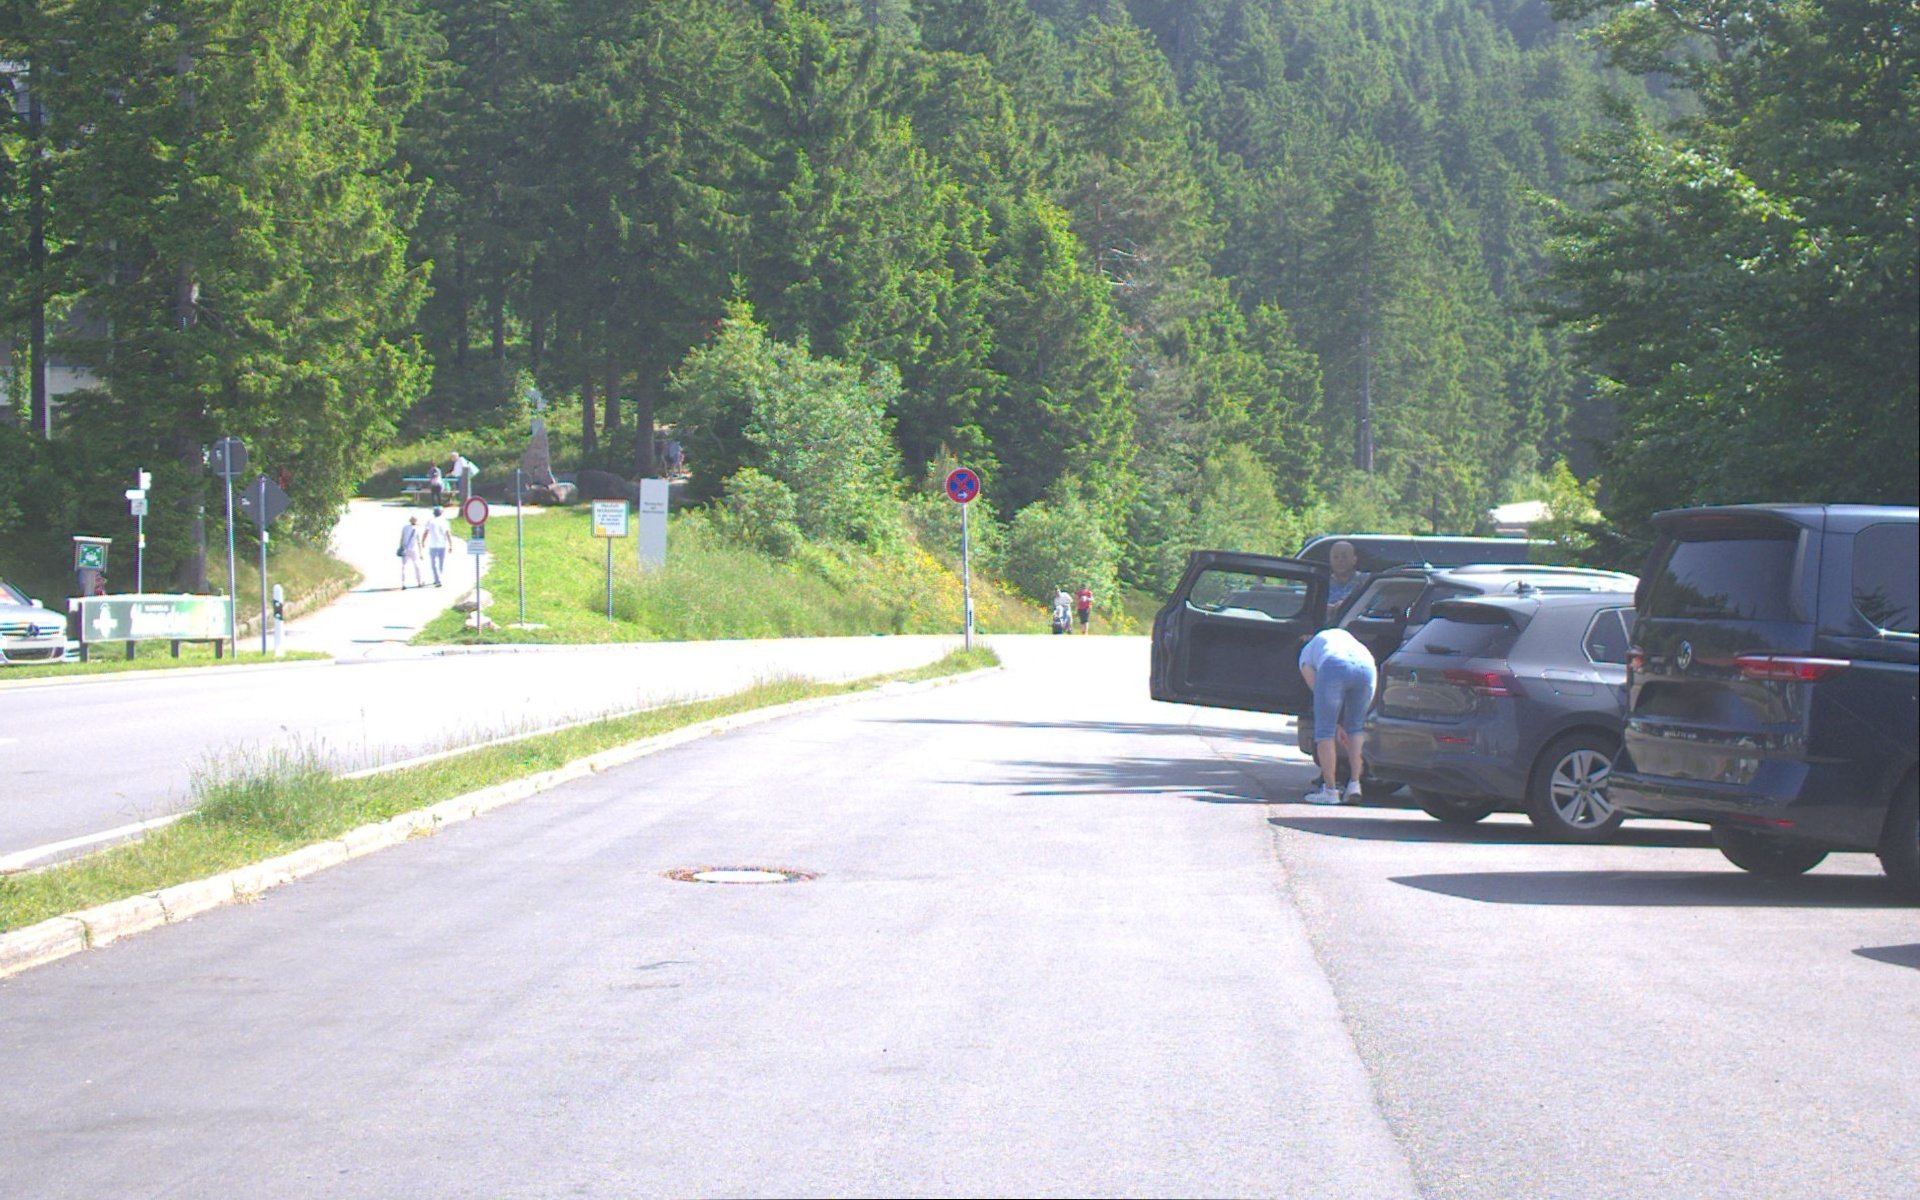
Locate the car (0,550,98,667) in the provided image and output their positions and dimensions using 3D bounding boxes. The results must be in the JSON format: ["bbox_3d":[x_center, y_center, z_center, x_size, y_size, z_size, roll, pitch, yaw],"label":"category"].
[{"bbox_3d":[-13.097,0.105,45.160,1.739,1.436,3.968,-3,2,-42],"label":"car"}]

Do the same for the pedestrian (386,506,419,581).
[{"bbox_3d":[-12.524,-1.267,77.219,0.652,1.661,0.643,-1,-1,-2],"label":"pedestrian"}]

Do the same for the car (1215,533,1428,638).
[{"bbox_3d":[7.066,-0.295,67.485,3.988,1.713,1.867,4,2,5],"label":"car"}]

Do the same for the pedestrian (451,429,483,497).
[{"bbox_3d":[-14.699,-4.075,102.516,0.815,2.006,0.854,-1,2,-4],"label":"pedestrian"}]

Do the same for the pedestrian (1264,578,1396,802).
[{"bbox_3d":[2.388,0.570,22.140,0.774,1.398,0.669,-1,2,11],"label":"pedestrian"}]

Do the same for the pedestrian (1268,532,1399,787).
[{"bbox_3d":[2.645,0.416,24.365,0.578,1.754,0.633,3,0,-25],"label":"pedestrian"}]

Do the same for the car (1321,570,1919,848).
[{"bbox_3d":[4.378,0.645,20.417,3.985,1.438,1.840,2,1,-16],"label":"car"}]

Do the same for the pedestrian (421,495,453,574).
[{"bbox_3d":[-11.842,-1.484,77.849,0.652,1.793,0.643,0,1,-2],"label":"pedestrian"}]

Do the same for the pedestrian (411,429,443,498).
[{"bbox_3d":[-15.690,-4.010,101.247,0.797,2.006,0.940,-1,2,-4],"label":"pedestrian"}]

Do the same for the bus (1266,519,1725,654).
[{"bbox_3d":[15.537,-0.474,100.188,12.874,3.566,2.979,1,3,21],"label":"bus"}]

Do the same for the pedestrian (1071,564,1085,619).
[{"bbox_3d":[3.818,-0.276,111.498,0.415,1.741,0.457,-1,2,4],"label":"pedestrian"}]

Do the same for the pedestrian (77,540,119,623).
[{"bbox_3d":[-16.238,-0.355,64.754,0.577,1.527,0.552,-1,2,4],"label":"pedestrian"}]

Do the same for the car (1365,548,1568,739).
[{"bbox_3d":[5.864,0.455,40.294,1.905,1.966,4.818,4,1,5],"label":"car"}]

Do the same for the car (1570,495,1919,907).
[{"bbox_3d":[5.717,0.524,17.275,4.756,1.873,1.967,2,1,-14],"label":"car"}]

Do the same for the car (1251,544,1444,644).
[{"bbox_3d":[8.409,-0.147,74.568,3.988,1.808,1.939,4,3,7],"label":"car"}]

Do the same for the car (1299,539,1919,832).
[{"bbox_3d":[4.609,0.587,23.481,3.986,1.656,2.001,5,0,-23],"label":"car"}]

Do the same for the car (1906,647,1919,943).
[{"bbox_3d":[6.101,0.797,14.118,3.986,1.410,1.745,2,1,-23],"label":"car"}]
